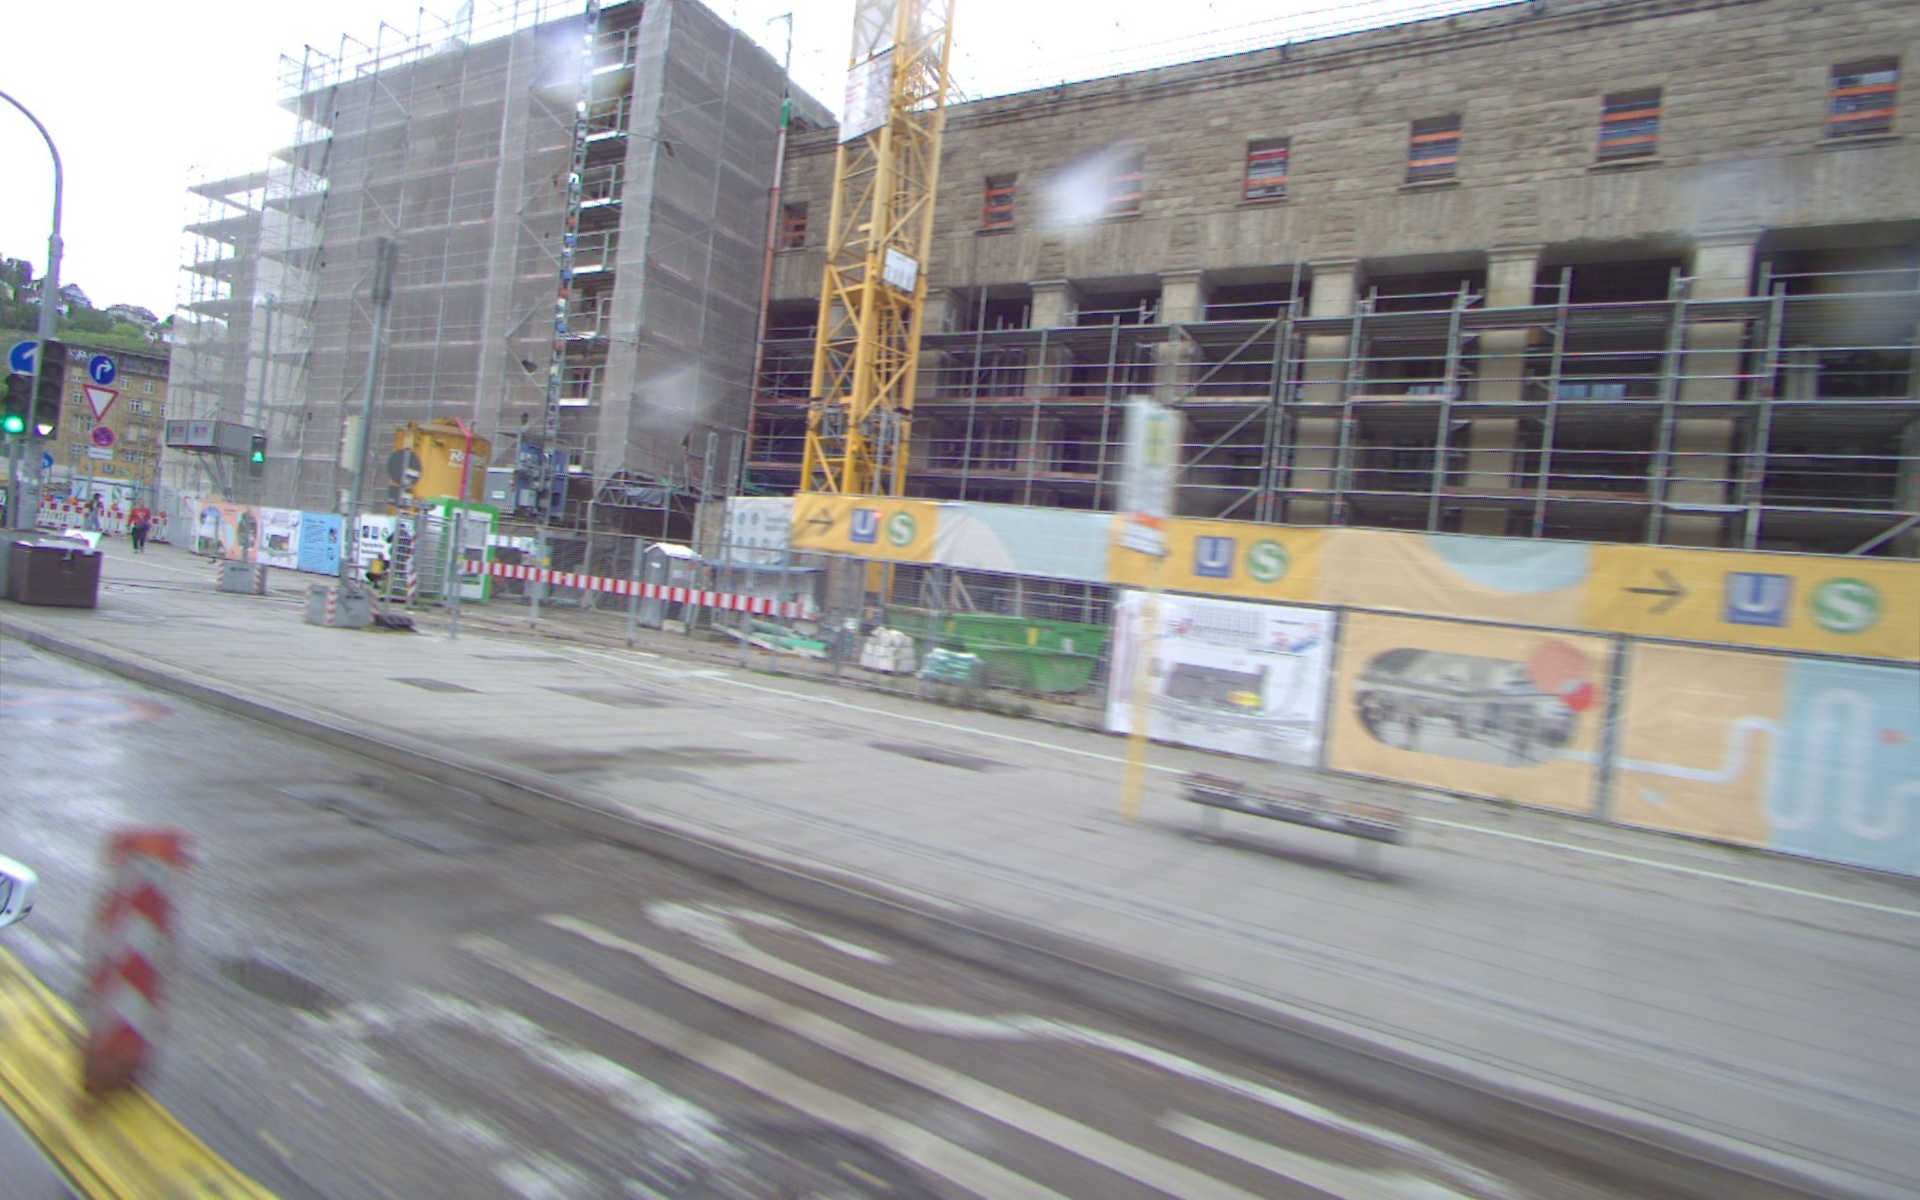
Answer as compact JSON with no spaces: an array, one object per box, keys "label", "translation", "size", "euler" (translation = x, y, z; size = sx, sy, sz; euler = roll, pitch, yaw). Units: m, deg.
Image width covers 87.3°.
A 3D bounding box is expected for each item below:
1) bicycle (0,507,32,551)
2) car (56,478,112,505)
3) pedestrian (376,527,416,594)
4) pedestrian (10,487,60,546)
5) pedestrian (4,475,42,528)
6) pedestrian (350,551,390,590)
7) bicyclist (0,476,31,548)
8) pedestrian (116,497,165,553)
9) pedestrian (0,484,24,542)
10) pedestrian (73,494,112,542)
[{"label":"bicycle","translation":[-26.058,-1.975,27.437],"size":[1.778,1.062,0.707],"euler":[8,0,37]},{"label":"car","translation":[-88.455,-10.946,101.592],"size":[1.972,2.039,3.980],"euler":[7,0,41]},{"label":"pedestrian","translation":[-15.035,-1.046,26.831],"size":[0.700,1.693,0.789],"euler":[5,1,-37]},{"label":"pedestrian","translation":[-27.248,-2.448,29.646],"size":[0.788,1.628,0.829],"euler":[6,1,-29]},{"label":"pedestrian","translation":[-35.414,-3.727,38.016],"size":[0.786,1.864,0.863],"euler":[7,1,42]},{"label":"pedestrian","translation":[-16.235,-0.821,27.690],"size":[0.791,0.952,0.709],"euler":[6,1,-40]},{"label":"bicyclist","translation":[-26.070,-2.417,27.478],"size":[0.953,1.867,0.703],"euler":[7,0,37]},{"label":"pedestrian","translation":[-25.868,-2.355,31.769],"size":[0.847,1.628,0.770],"euler":[6,1,18]},{"label":"pedestrian","translation":[-28.017,-2.566,29.339],"size":[0.788,1.628,0.829],"euler":[6,1,-29]},{"label":"pedestrian","translation":[-33.346,-3.149,38.693],"size":[0.785,1.682,0.865],"euler":[7,1,35]}]
